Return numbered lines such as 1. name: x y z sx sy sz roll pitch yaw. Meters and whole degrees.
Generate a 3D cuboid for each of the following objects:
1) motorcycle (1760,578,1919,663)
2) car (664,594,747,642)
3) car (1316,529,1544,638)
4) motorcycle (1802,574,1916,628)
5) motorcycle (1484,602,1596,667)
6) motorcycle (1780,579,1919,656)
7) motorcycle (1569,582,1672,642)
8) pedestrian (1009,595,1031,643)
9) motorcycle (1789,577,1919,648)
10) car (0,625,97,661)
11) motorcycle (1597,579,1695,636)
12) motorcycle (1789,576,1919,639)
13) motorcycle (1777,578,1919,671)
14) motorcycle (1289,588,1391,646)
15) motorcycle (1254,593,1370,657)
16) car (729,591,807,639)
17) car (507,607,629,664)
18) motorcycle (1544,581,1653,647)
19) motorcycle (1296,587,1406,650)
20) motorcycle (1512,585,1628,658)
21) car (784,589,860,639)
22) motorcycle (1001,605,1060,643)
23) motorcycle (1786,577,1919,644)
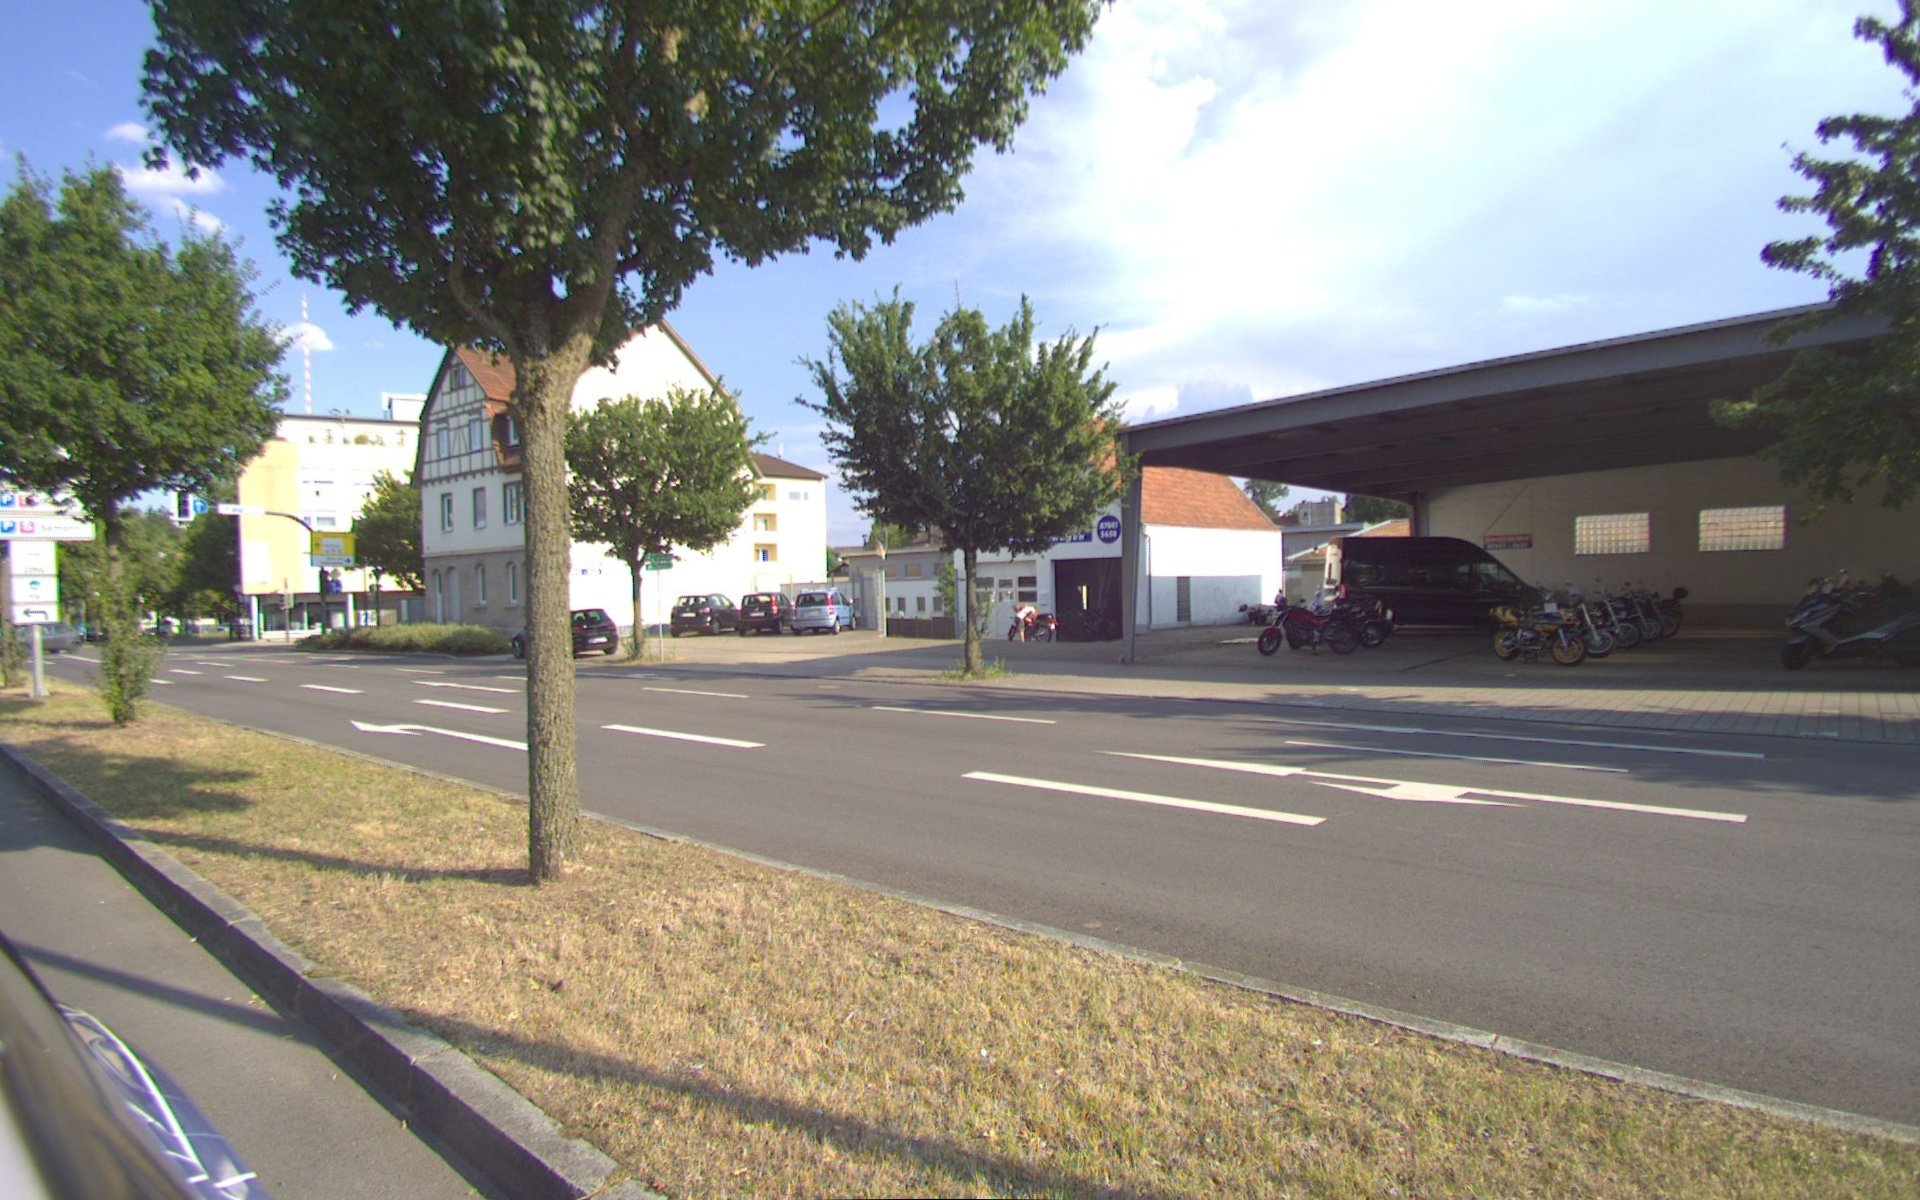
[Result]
1. motorcycle: 14.789 0.342 16.887 2.103 1.306 0.628 -3 -1 18
2. car: -9.442 0.624 37.816 1.797 1.512 3.819 -3 2 5
3. car: 12.744 -0.417 27.739 5.221 2.773 1.996 -1 0 7
4. motorcycle: 23.612 0.042 26.630 2.103 1.306 0.628 -3 -1 18
5. motorcycle: 10.407 0.595 18.264 0.621 1.095 2.038 -1 0 -7
6. motorcycle: 16.407 0.319 18.459 2.103 1.306 0.628 -3 -1 18
7. motorcycle: 15.414 0.272 23.690 0.621 1.347 2.269 -1 0 -9
8. pedestrian: 1.951 0.623 32.879 0.485 1.530 0.496 -1 0 41
9. motorcycle: 17.922 0.246 20.099 2.103 1.306 0.628 -3 -1 18
10. car: -46.984 2.153 51.730 1.851 1.644 3.964 -1 0 26
11. motorcycle: 17.168 0.188 25.414 0.621 1.347 2.269 -1 0 -9
12. motorcycle: 20.105 0.180 22.754 2.103 1.306 0.628 -3 -1 18
13. motorcycle: 13.737 0.358 15.227 2.103 1.306 0.628 -3 -1 18
14. motorcycle: 9.256 0.417 24.720 2.198 1.372 0.630 -1 0 5
15. motorcycle: 7.373 0.531 21.273 2.202 1.290 0.629 -1 0 11
16. car: -7.042 0.521 37.423 1.797 1.512 3.819 -3 2 5
17. car: -11.722 1.025 30.194 3.823 1.462 1.795 -1 2 42
18. motorcycle: 13.741 0.296 21.880 0.621 1.347 2.269 -1 0 -9
19. motorcycle: 8.833 0.418 22.916 2.198 1.372 0.630 -1 0 5
20. motorcycle: 12.035 0.411 20.068 0.621 1.347 2.269 -1 0 -9
21. car: -4.803 0.459 35.793 1.797 1.512 3.819 -3 2 5
22. motorcycle: 2.313 0.786 33.325 1.974 1.194 0.577 -1 0 41
23. motorcycle: 18.911 0.231 21.400 2.103 1.306 0.628 -3 -1 18
